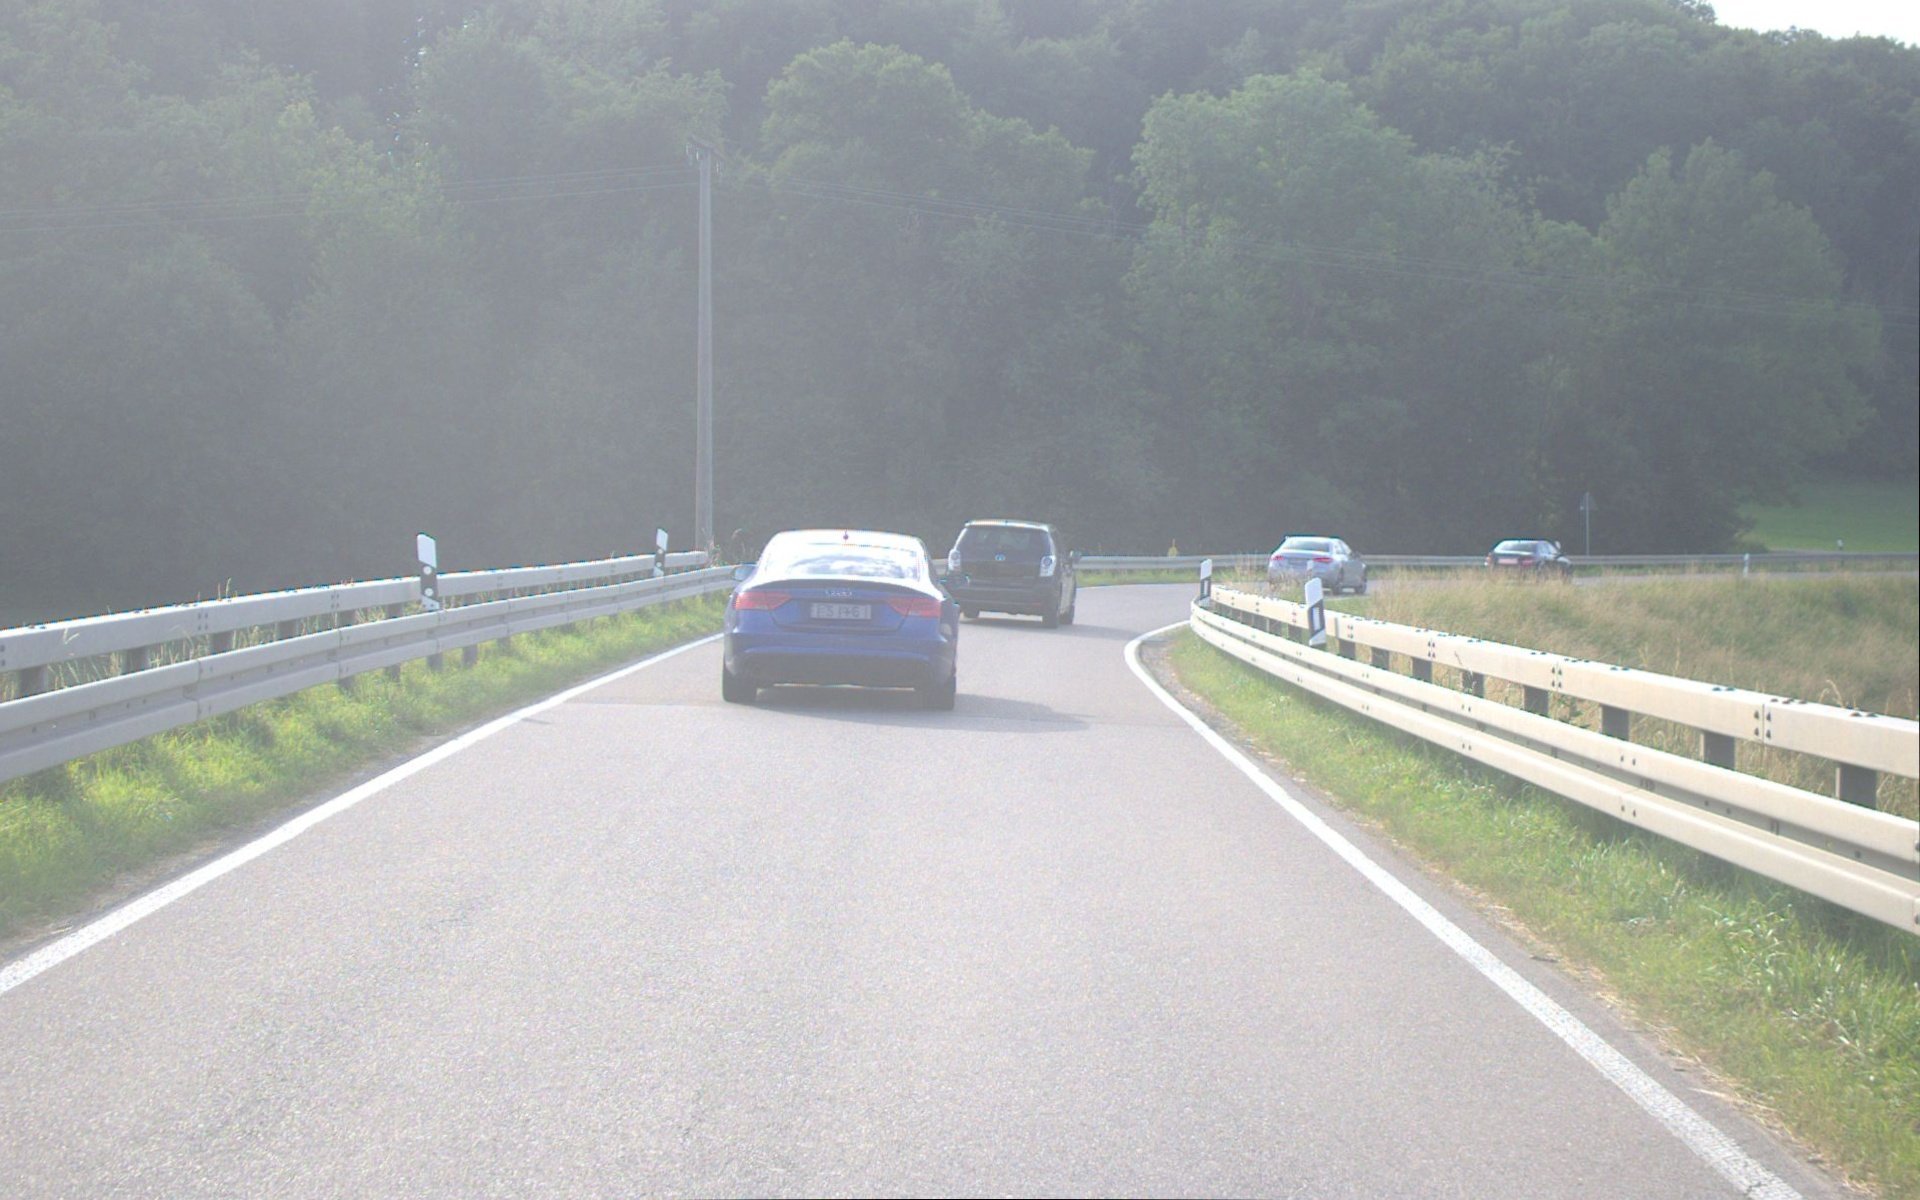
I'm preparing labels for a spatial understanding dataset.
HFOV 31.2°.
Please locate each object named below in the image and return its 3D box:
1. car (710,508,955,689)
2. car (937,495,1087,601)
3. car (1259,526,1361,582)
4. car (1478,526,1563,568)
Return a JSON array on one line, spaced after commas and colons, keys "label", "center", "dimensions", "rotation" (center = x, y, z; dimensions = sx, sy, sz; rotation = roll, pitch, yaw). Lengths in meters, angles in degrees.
[{"label": "car", "center": [-0.978, -0.054, 28.009], "dimensions": [1.818, 1.334, 4.350], "rotation": [1, 1, 0]}, {"label": "car", "center": [0.848, -0.832, 53.579], "dimensions": [1.862, 1.563, 3.999], "rotation": [1, 1, 8]}, {"label": "car", "center": [8.976, -1.175, 87.921], "dimensions": [1.684, 1.371, 3.996], "rotation": [1, 1, 19]}, {"label": "car", "center": [17.731, -1.666, 108.696], "dimensions": [1.474, 1.223, 3.293], "rotation": [2, 0, 32]}]
